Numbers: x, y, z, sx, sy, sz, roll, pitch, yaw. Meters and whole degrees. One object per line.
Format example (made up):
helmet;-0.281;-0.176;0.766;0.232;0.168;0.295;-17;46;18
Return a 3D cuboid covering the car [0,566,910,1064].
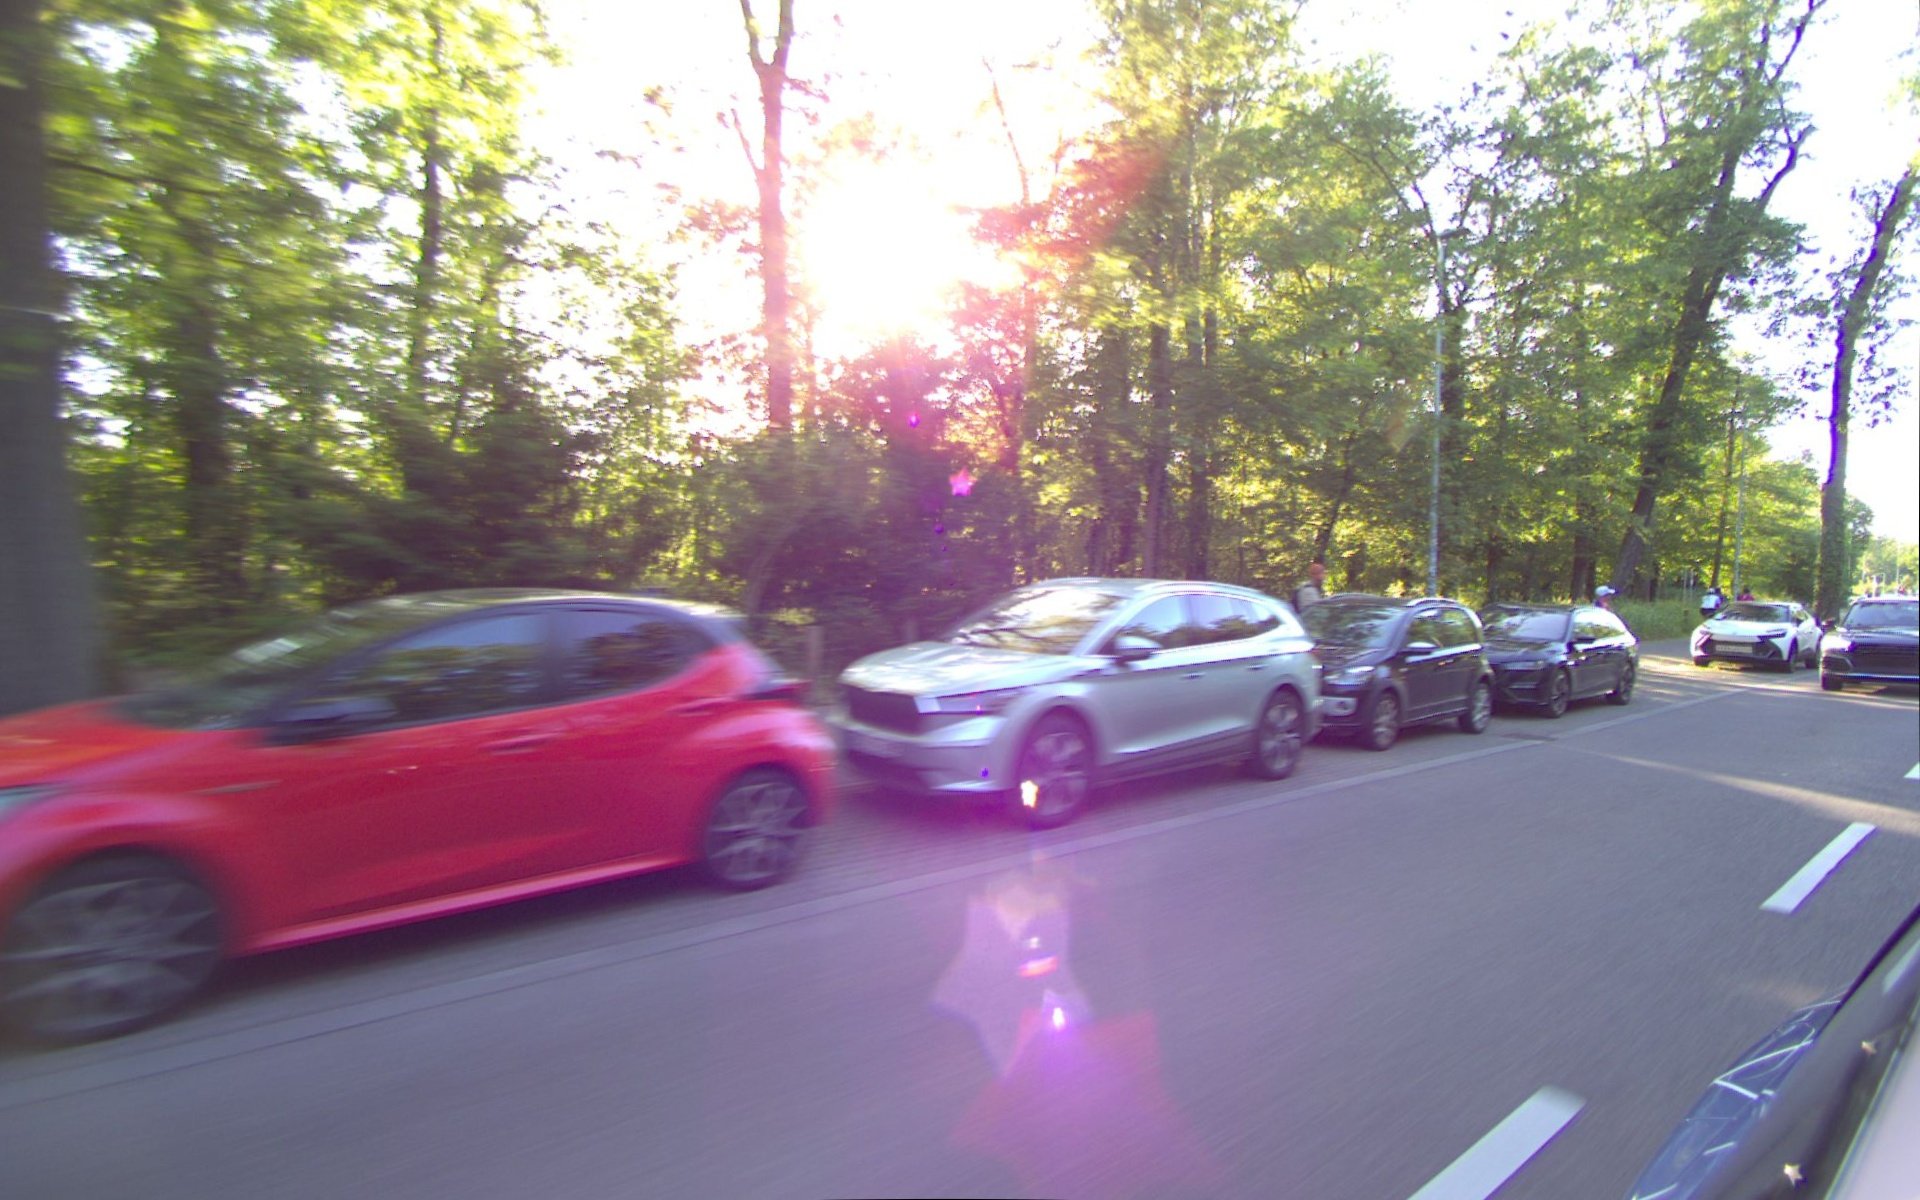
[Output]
car;-2.529;0.645;4.820;4.388;1.474;1.856;0;4;-43

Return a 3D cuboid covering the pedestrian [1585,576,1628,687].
pedestrian;10.706;0.502;16.758;0.510;1.778;0.726;3;2;35

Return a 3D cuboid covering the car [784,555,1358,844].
car;1.113;0.543;8.060;4.640;1.604;1.857;0;4;-41

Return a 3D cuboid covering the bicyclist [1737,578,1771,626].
bicyclist;26.830;0.053;34.209;0.861;1.580;0.703;0;3;-42

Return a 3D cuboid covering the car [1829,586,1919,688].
car;16.887;0.581;17.899;3.932;1.638;1.859;-1;2;-43

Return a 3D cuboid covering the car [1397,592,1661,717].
car;8.267;0.652;14.538;4.455;1.452;1.857;0;3;-41

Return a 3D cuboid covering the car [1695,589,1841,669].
car;18.829;0.597;23.520;4.378;1.579;1.811;0;4;-41

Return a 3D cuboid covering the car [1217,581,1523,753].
car;4.694;0.609;11.336;3.842;1.540;1.598;0;3;-42

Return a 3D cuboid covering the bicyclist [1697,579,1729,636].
bicyclist;23.502;0.234;31.596;0.820;1.737;0.596;0;1;-42
